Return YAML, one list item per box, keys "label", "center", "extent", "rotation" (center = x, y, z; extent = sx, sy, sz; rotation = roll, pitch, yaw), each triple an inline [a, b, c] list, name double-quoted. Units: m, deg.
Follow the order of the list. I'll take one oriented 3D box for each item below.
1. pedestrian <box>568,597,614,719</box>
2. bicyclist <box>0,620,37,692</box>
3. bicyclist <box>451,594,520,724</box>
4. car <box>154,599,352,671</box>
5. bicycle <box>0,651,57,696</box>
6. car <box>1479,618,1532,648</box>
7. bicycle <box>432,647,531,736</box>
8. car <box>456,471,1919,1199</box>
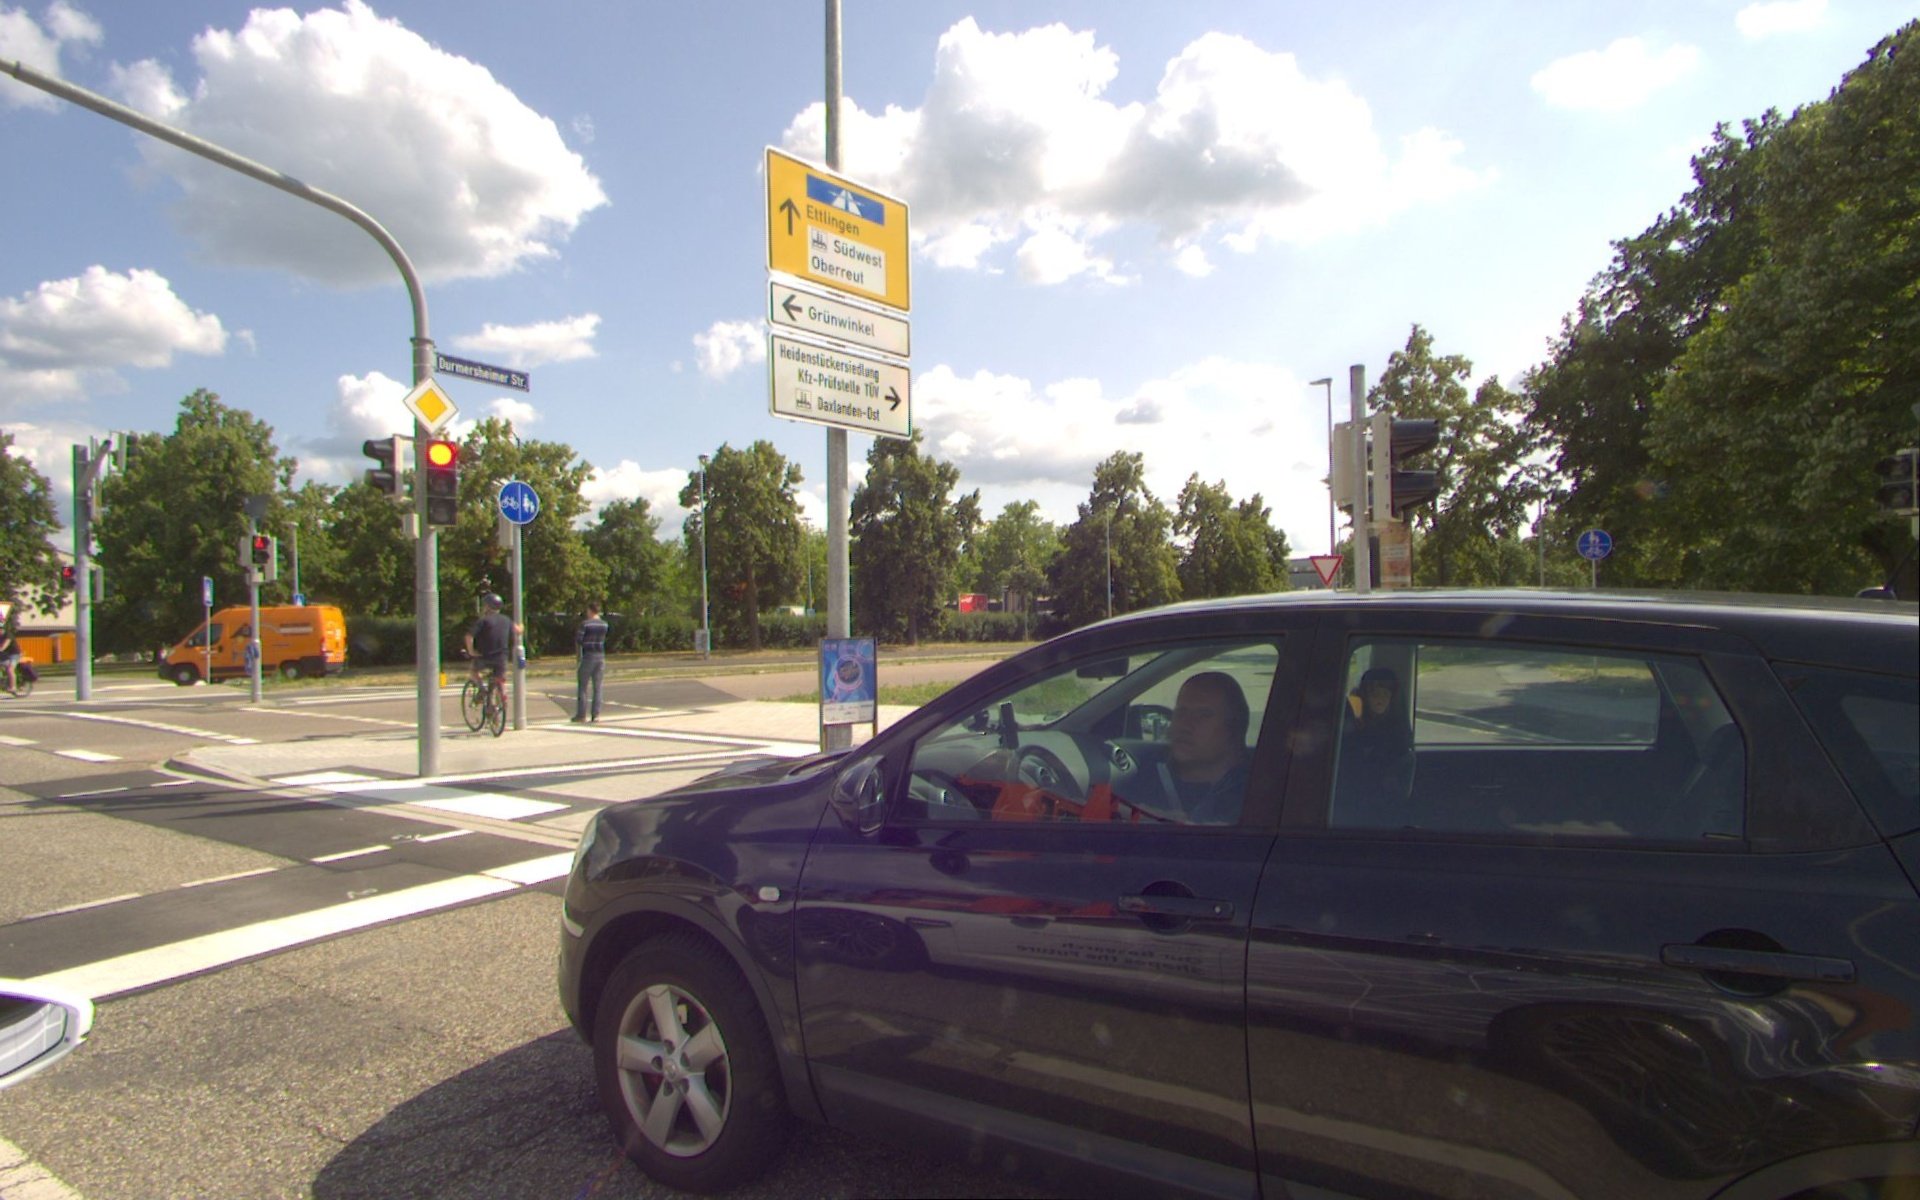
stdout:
- label: "pedestrian"
  center: [-5.592, 0.878, 15.186]
  extent: [0.477, 1.800, 0.462]
  rotation: [-2, -3, 42]
- label: "bicyclist"
  center: [-24.455, 1.433, 25.753]
  extent: [0.672, 1.827, 0.789]
  rotation: [-1, -1, 3]
- label: "bicyclist"
  center: [-6.373, 0.793, 13.455]
  extent: [0.644, 1.682, 0.644]
  rotation: [2, -4, -44]
- label: "car"
  center: [-23.051, 1.190, 32.911]
  extent: [4.772, 2.253, 2.210]
  rotation: [1, -3, -15]
- label: "bicycle"
  center: [-24.455, 1.873, 25.714]
  extent: [0.672, 1.107, 2.004]
  rotation: [-1, -2, 3]
- label: "car"
  center: [23.157, 1.437, 42.603]
  extent: [1.886, 1.192, 3.767]
  rotation: [-2, -4, 27]
- label: "bicycle"
  center: [-6.507, 1.218, 13.578]
  extent: [0.644, 1.121, 1.910]
  rotation: [3, -4, -43]
- label: "car"
  center: [0.647, 0.697, 2.769]
  extent: [3.941, 1.571, 1.798]
  rotation: [-2, -4, 31]
